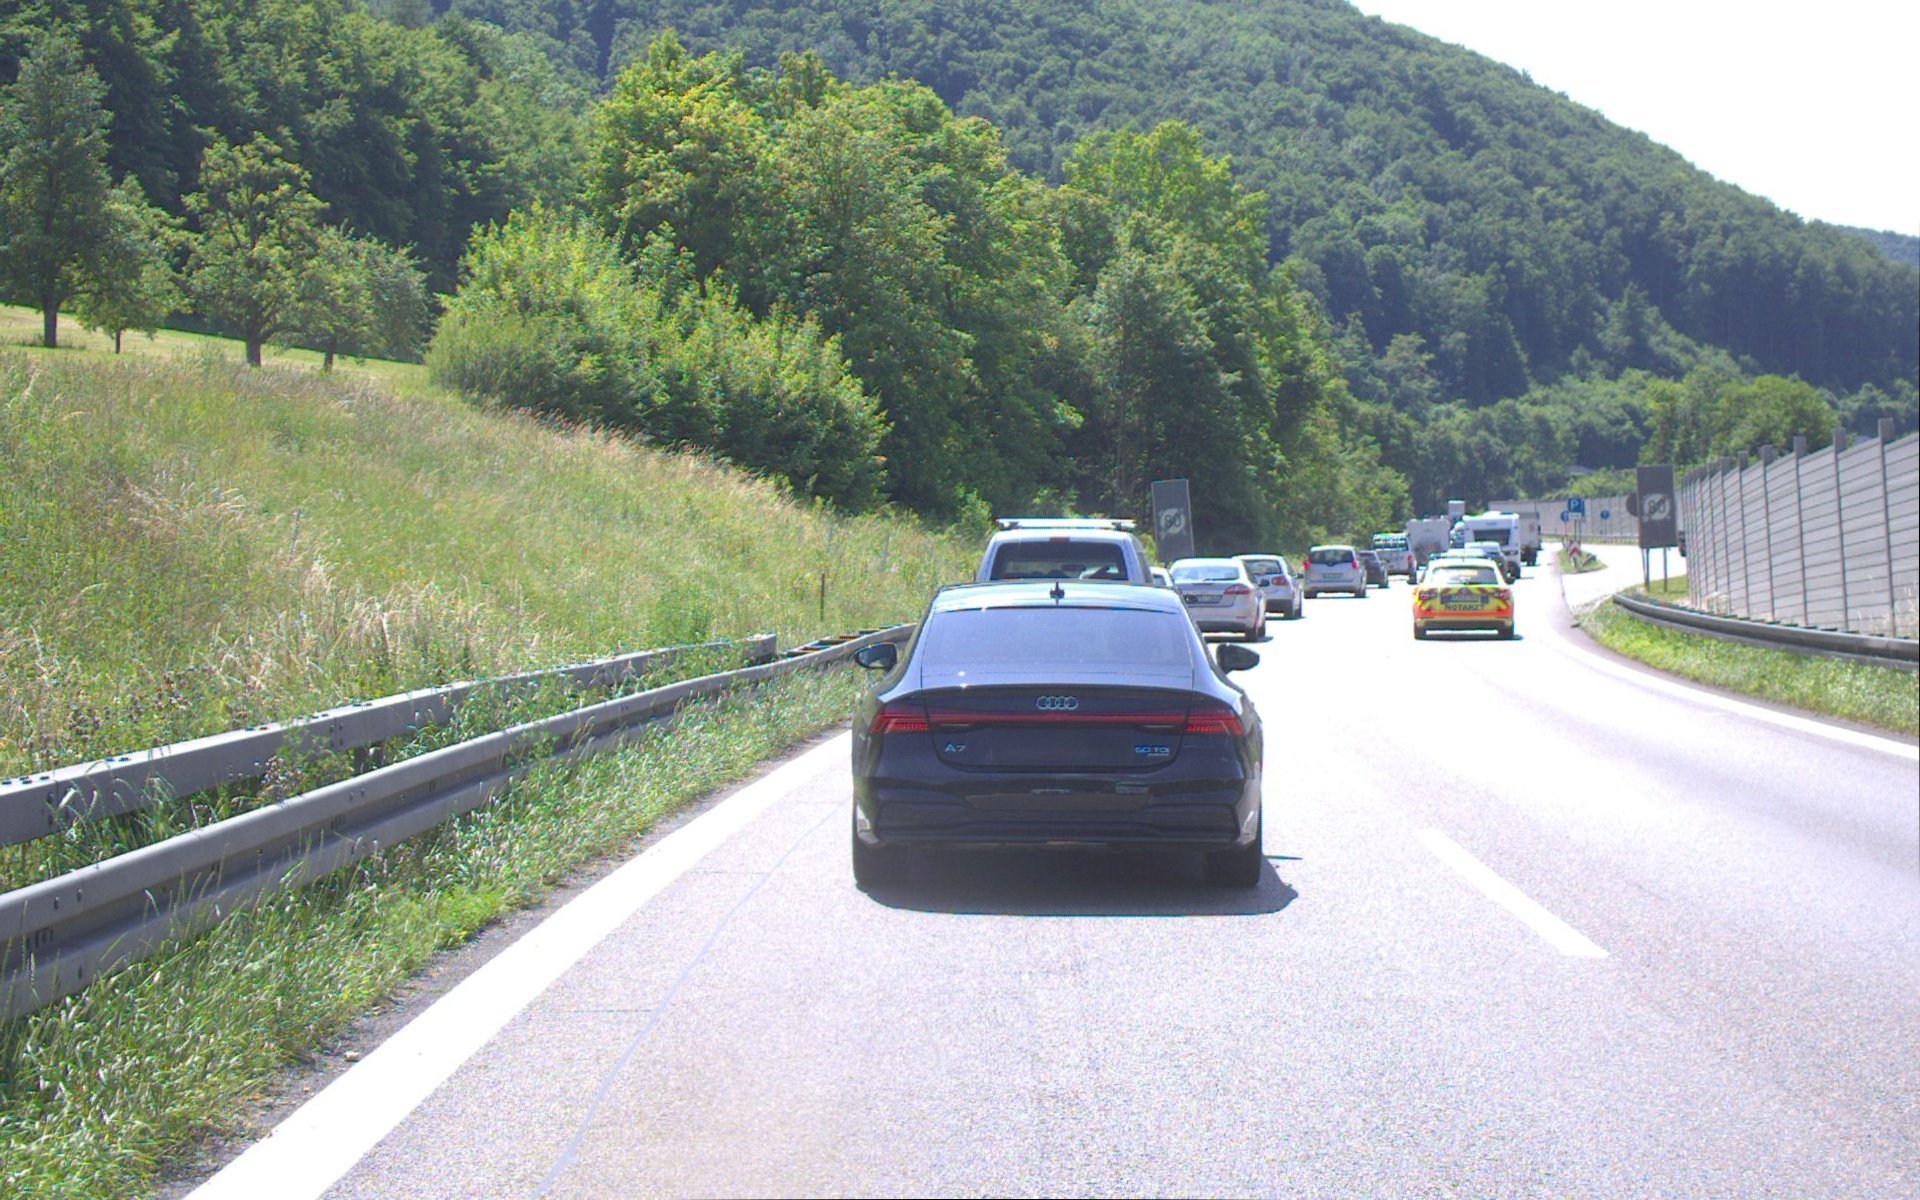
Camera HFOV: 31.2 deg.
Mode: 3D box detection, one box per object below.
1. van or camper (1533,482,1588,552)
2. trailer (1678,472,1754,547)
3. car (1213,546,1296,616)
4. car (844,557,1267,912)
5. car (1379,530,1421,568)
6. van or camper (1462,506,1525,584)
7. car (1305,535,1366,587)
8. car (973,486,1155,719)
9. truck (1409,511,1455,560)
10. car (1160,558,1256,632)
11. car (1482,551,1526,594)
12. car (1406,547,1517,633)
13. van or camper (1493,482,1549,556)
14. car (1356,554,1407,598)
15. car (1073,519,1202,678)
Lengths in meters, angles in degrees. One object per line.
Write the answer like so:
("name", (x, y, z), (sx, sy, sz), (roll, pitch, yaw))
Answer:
("van or camper", (33.929, -4.662, 194.306), (2.795, 3.828, 6.165), (1, 0, 8))
("trailer", (40.362, -4.812, 183.814), (3.413, 3.887, 11.147), (-1, 1, 10))
("car", (6.789, -0.453, 79.041), (1.522, 1.547, 3.513), (2, 1, 10))
("car", (0.483, 0.557, 16.503), (1.812, 1.509, 3.514), (0, 1, 2))
("car", (19.012, -2.196, 148.427), (1.522, 1.547, 3.512), (2, 1, 11))
("van or camper", (22.105, -2.236, 142.294), (2.430, 3.144, 5.201), (1, 0, 10))
("car", (11.654, -1.198, 106.618), (1.522, 1.547, 3.512), (2, 1, 11))
("car", (0.994, -0.006, 31.347), (1.521, 1.961, 3.514), (1, 1, 3))
("truck", (25.998, -3.513, 189.206), (2.065, 2.596, 5.611), (2, 1, 12))
("car", (4.497, -0.115, 62.071), (1.521, 1.290, 3.513), (0, 1, 7))
("car", (19.962, -1.002, 126.051), (1.488, 1.565, 2.999), (1, 0, 10))
("car", (9.266, -0.208, 63.328), (1.879, 1.493, 3.998), (-1, 1, 10))
("van or camper", (30.323, -4.353, 185.989), (2.795, 3.894, 6.165), (1, 0, 8))
("car", (15.495, -0.885, 126.298), (1.522, 1.547, 3.512), (2, 1, 12))
("car", (2.276, -0.033, 43.717), (1.540, 1.918, 3.478), (1, 0, 4))
